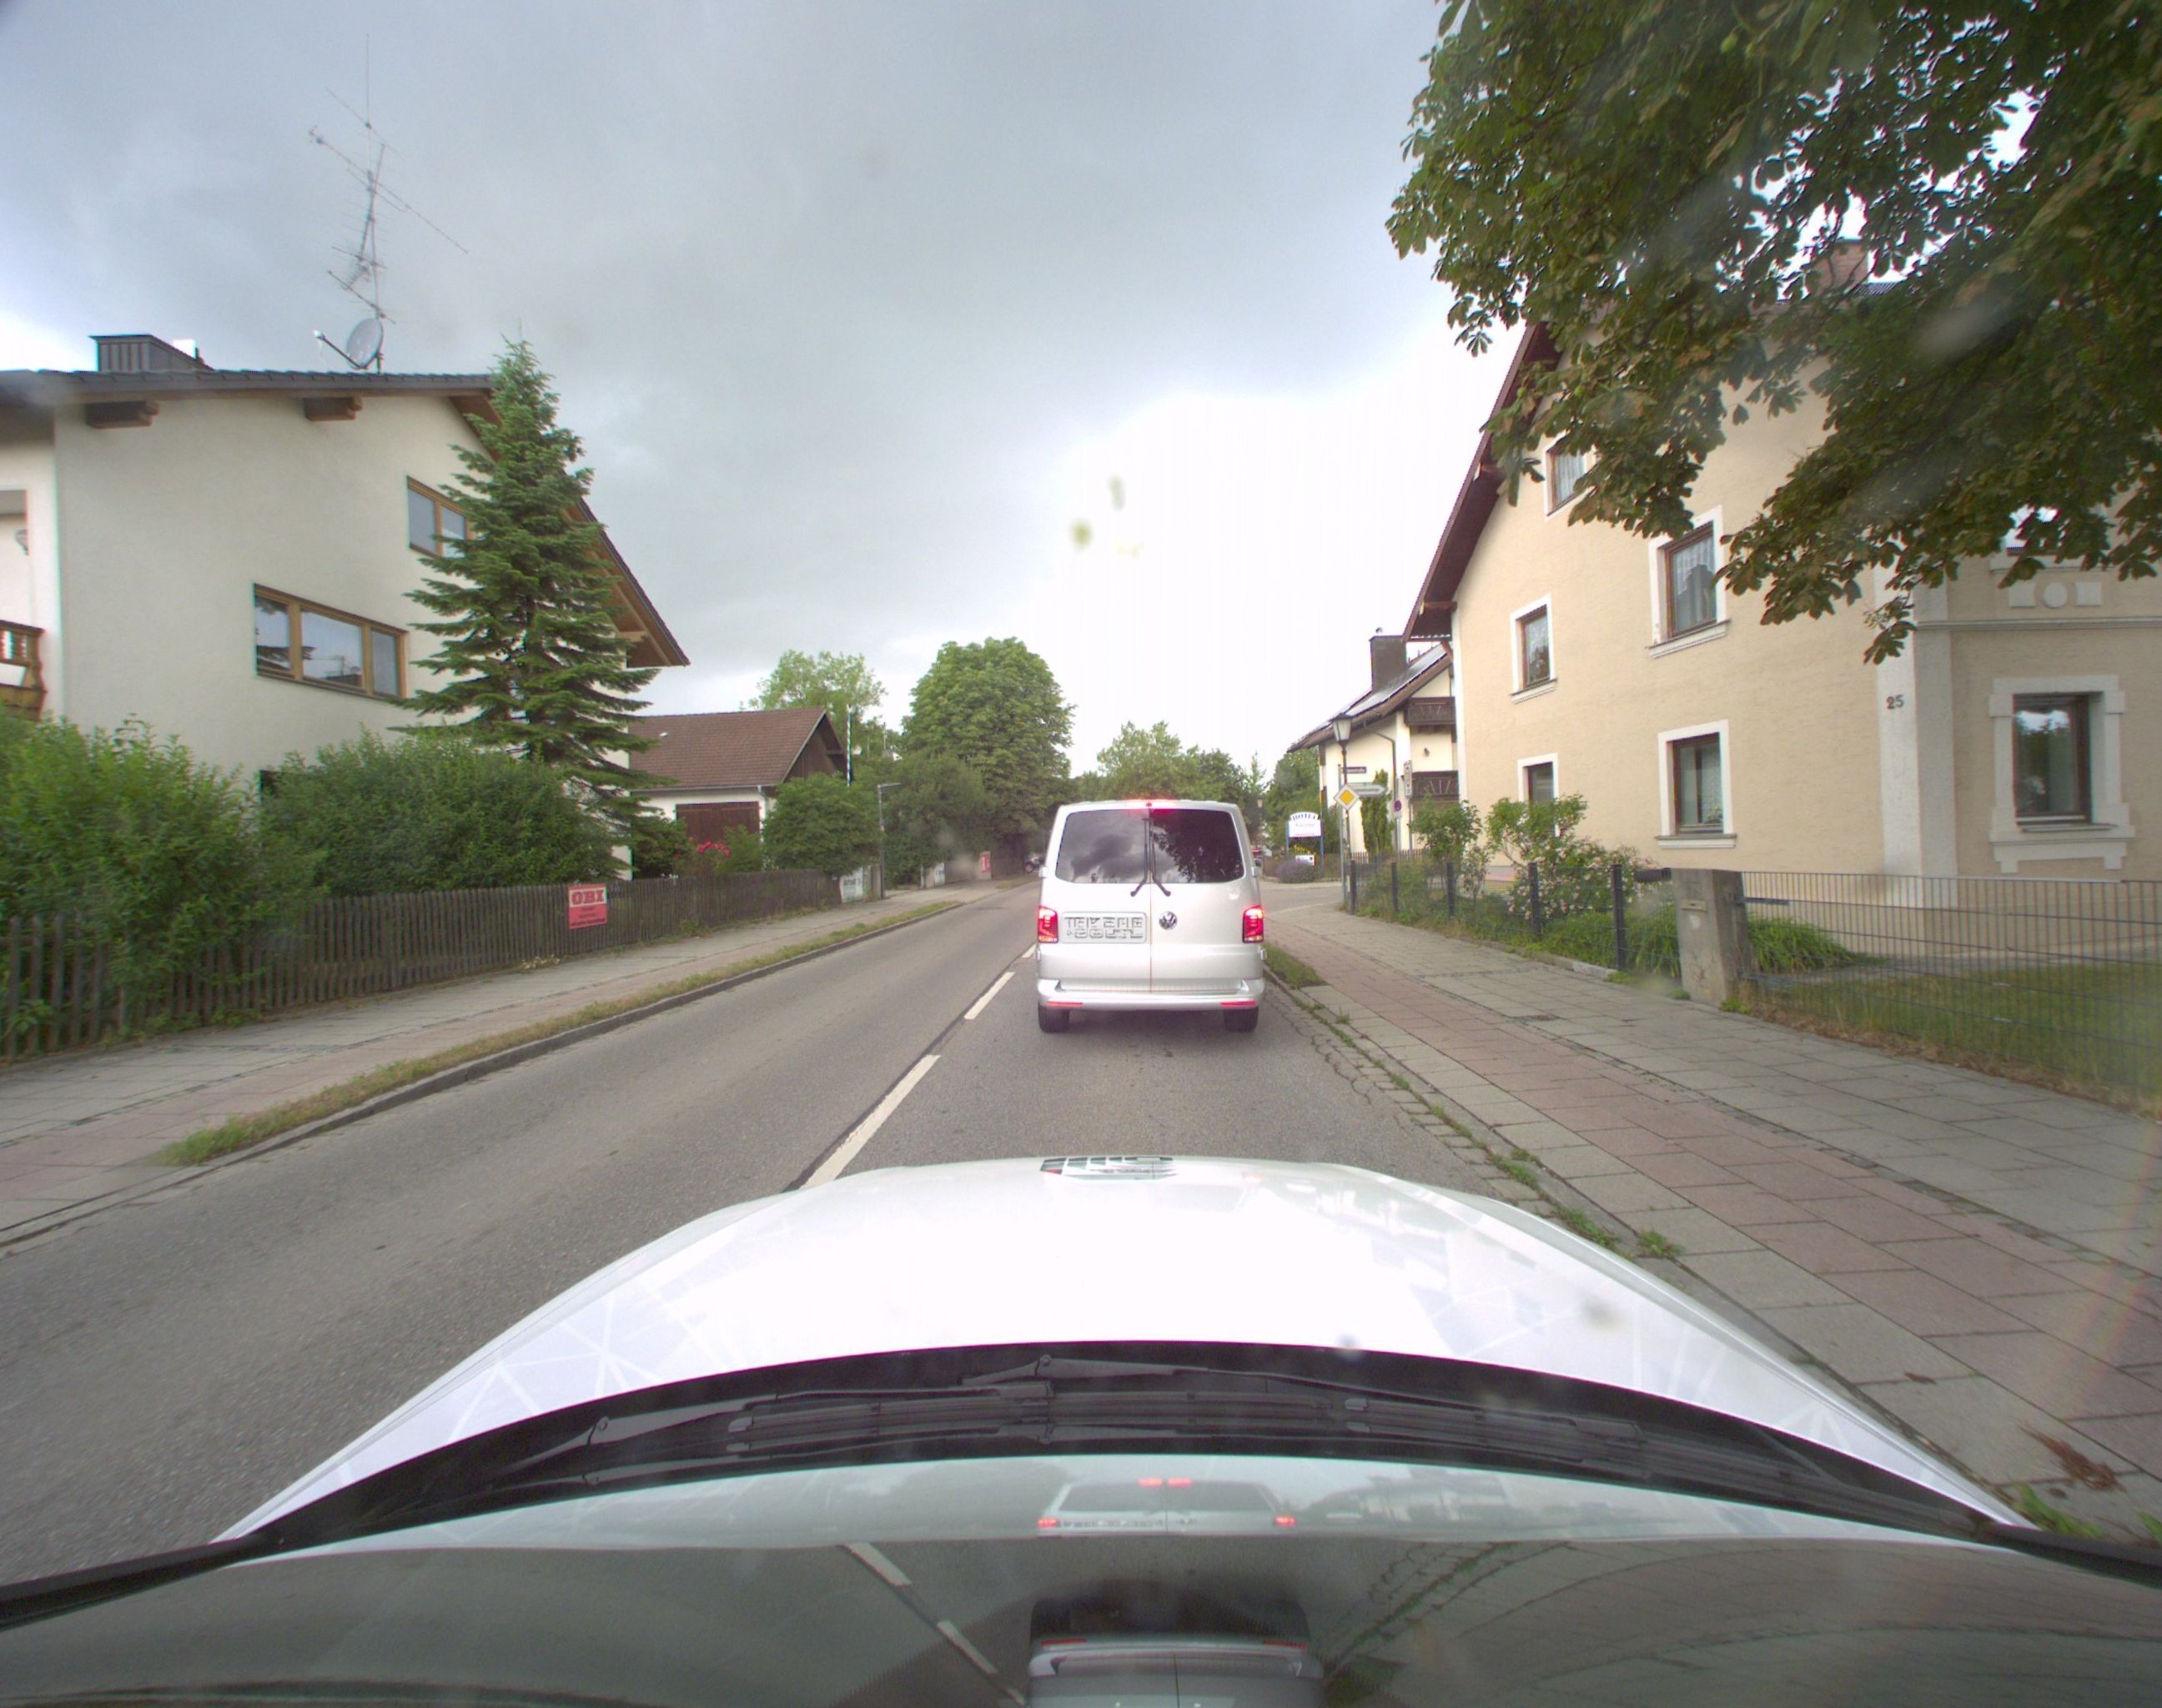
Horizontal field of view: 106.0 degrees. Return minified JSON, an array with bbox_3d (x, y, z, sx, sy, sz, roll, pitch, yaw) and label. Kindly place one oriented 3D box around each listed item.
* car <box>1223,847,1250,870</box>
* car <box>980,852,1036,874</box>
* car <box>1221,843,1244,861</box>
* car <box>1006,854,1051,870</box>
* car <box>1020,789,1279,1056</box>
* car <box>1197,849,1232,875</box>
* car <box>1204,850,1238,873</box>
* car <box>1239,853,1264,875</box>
[{"bbox_3d":[12.527,0.333,65.461,1.867,1.748,4.096,-2,0,14],"label":"car"},{"bbox_3d":[-5.327,0.648,59.613,3.982,1.486,1.996,-1,0,-6],"label":"car"},{"bbox_3d":[16.140,-0.202,86.540,1.866,1.825,3.939,-2,0,18],"label":"car"},{"bbox_3d":[-4.540,0.678,69.947,3.748,1.346,1.579,-1,0,-9],"label":"car"},{"bbox_3d":[0.602,0.510,8.031,1.873,1.940,3.923,-2,0,3],"label":"car"},{"bbox_3d":[8.625,0.497,52.524,1.868,1.535,3.935,-2,0,14],"label":"car"},{"bbox_3d":[9.905,0.489,57.406,1.867,1.535,3.937,-2,0,16],"label":"car"},{"bbox_3d":[15.288,0.890,72.868,1.867,1.825,3.937,-2,0,16],"label":"car"}]
